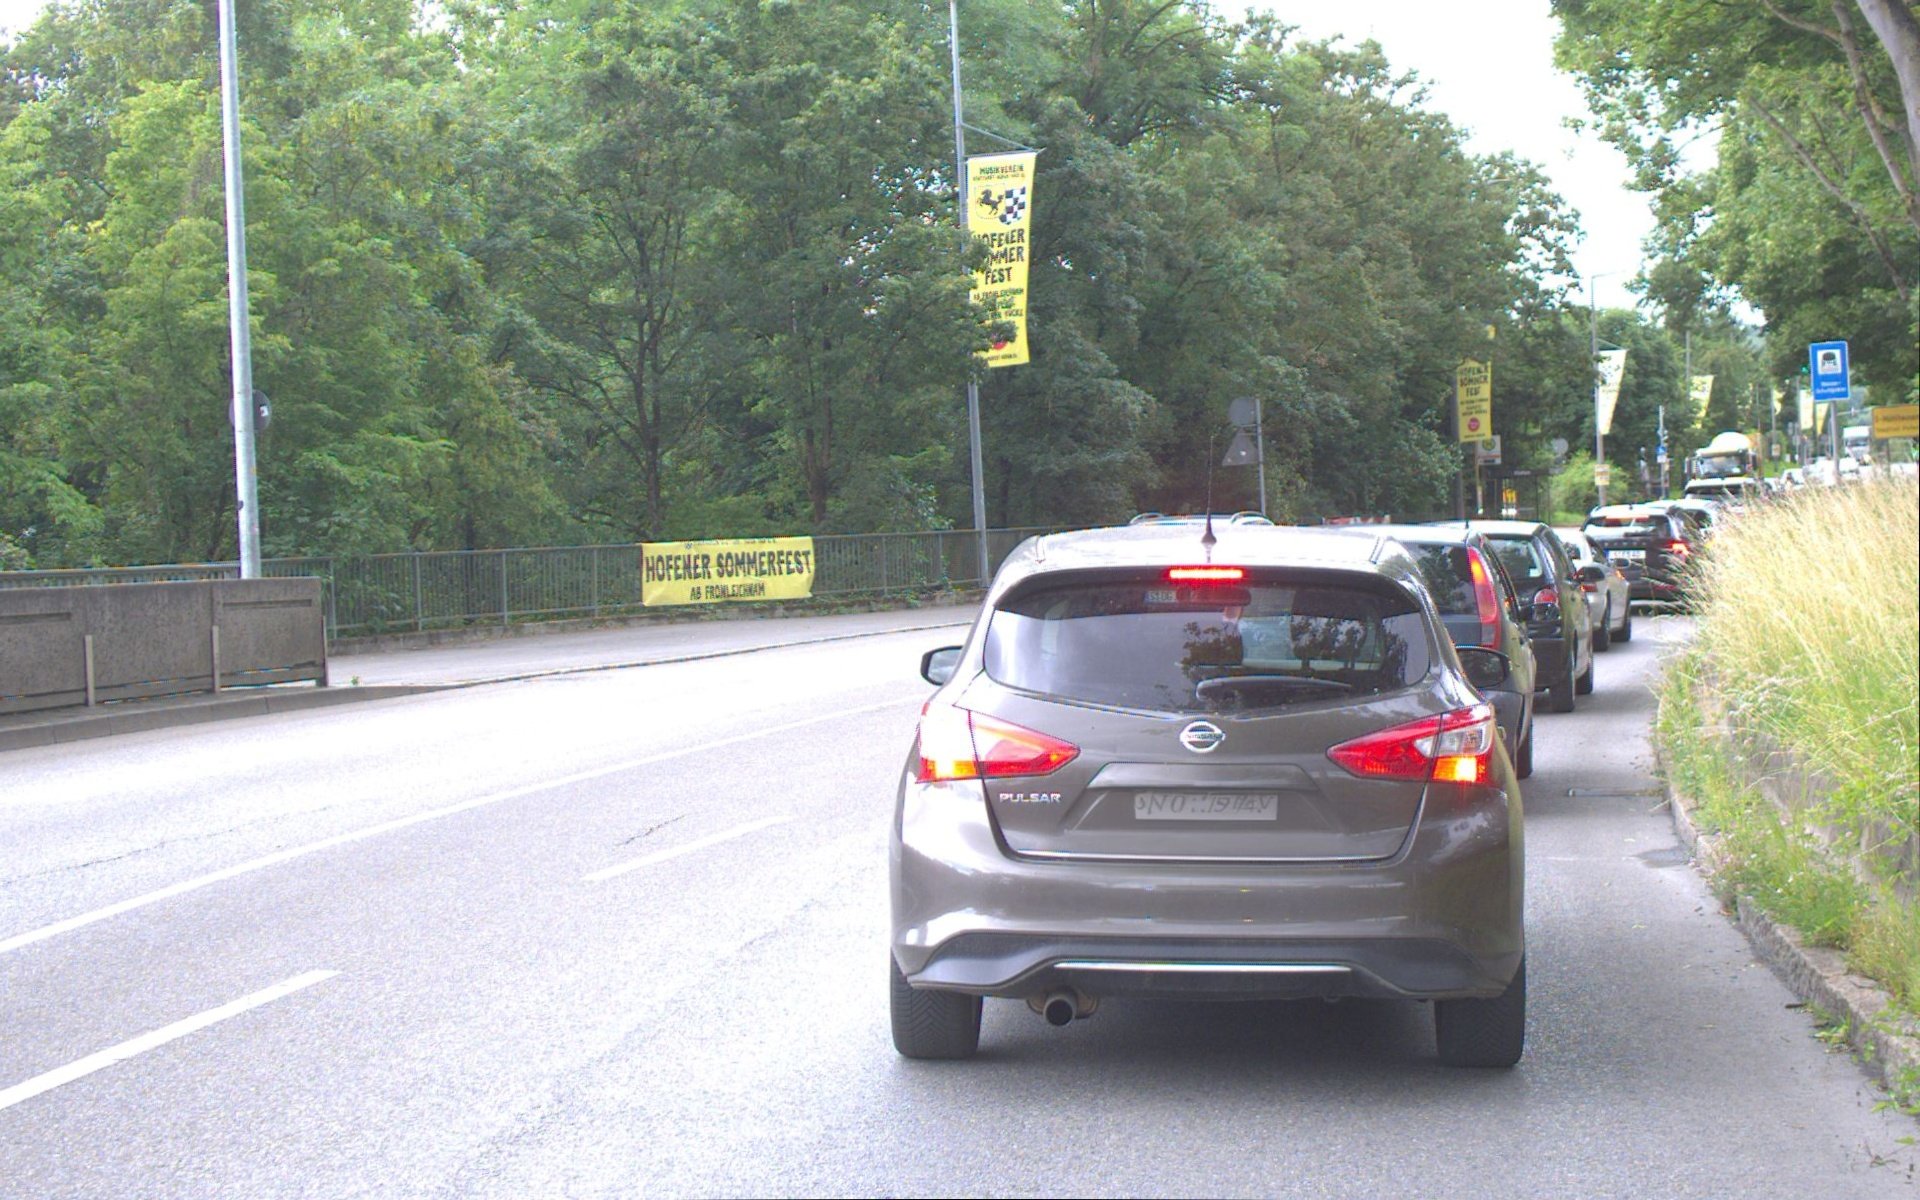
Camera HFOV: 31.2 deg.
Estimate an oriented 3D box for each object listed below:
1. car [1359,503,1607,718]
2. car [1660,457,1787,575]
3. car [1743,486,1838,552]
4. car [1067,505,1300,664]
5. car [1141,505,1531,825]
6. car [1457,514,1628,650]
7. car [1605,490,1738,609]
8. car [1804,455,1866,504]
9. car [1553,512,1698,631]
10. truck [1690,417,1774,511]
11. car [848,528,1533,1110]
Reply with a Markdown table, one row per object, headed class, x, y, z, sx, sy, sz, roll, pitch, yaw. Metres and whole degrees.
| class | x | y | z | sx | sy | sz | roll | pitch | yaw |
| --- | --- | --- | --- | --- | --- | --- | --- | --- | --- |
| car | 4.209 | 0.050 | 27.249 | 1.579 | 1.533 | 3.998 | -2 | 1 | 13 |
| car | 13.680 | -1.508 | 61.439 | 1.892 | 2.007 | 3.997 | -1 | 1 | 17 |
| car | 19.152 | -1.867 | 79.193 | 1.892 | 1.440 | 3.804 | -1 | 1 | 17 |
| car | 2.380 | -0.205 | 35.521 | 1.852 | 1.481 | 4.419 | -1 | 1 | 11 |
| car | 2.180 | 0.316 | 18.994 | 1.893 | 1.568 | 3.998 | -1 | 0 | 10 |
| car | 6.382 | -0.221 | 37.433 | 1.501 | 1.359 | 3.585 | -2 | 1 | 14 |
| car | 10.969 | -0.746 | 52.848 | 1.719 | 1.687 | 3.997 | -2 | -1 | 15 |
| car | 30.628 | -4.201 | 120.263 | 1.892 | 1.647 | 3.997 | -1 | 1 | 17 |
| car | 9.042 | -0.403 | 46.525 | 1.805 | 1.535 | 3.998 | 0 | 1 | 13 |
| truck | 33.938 | -5.908 | 150.871 | 2.657 | 3.925 | 10.103 | 0 | 1 | 18 |
| car | 0.850 | 0.545 | 10.896 | 1.775 | 1.489 | 3.999 | 0 | 0 | 8 |
